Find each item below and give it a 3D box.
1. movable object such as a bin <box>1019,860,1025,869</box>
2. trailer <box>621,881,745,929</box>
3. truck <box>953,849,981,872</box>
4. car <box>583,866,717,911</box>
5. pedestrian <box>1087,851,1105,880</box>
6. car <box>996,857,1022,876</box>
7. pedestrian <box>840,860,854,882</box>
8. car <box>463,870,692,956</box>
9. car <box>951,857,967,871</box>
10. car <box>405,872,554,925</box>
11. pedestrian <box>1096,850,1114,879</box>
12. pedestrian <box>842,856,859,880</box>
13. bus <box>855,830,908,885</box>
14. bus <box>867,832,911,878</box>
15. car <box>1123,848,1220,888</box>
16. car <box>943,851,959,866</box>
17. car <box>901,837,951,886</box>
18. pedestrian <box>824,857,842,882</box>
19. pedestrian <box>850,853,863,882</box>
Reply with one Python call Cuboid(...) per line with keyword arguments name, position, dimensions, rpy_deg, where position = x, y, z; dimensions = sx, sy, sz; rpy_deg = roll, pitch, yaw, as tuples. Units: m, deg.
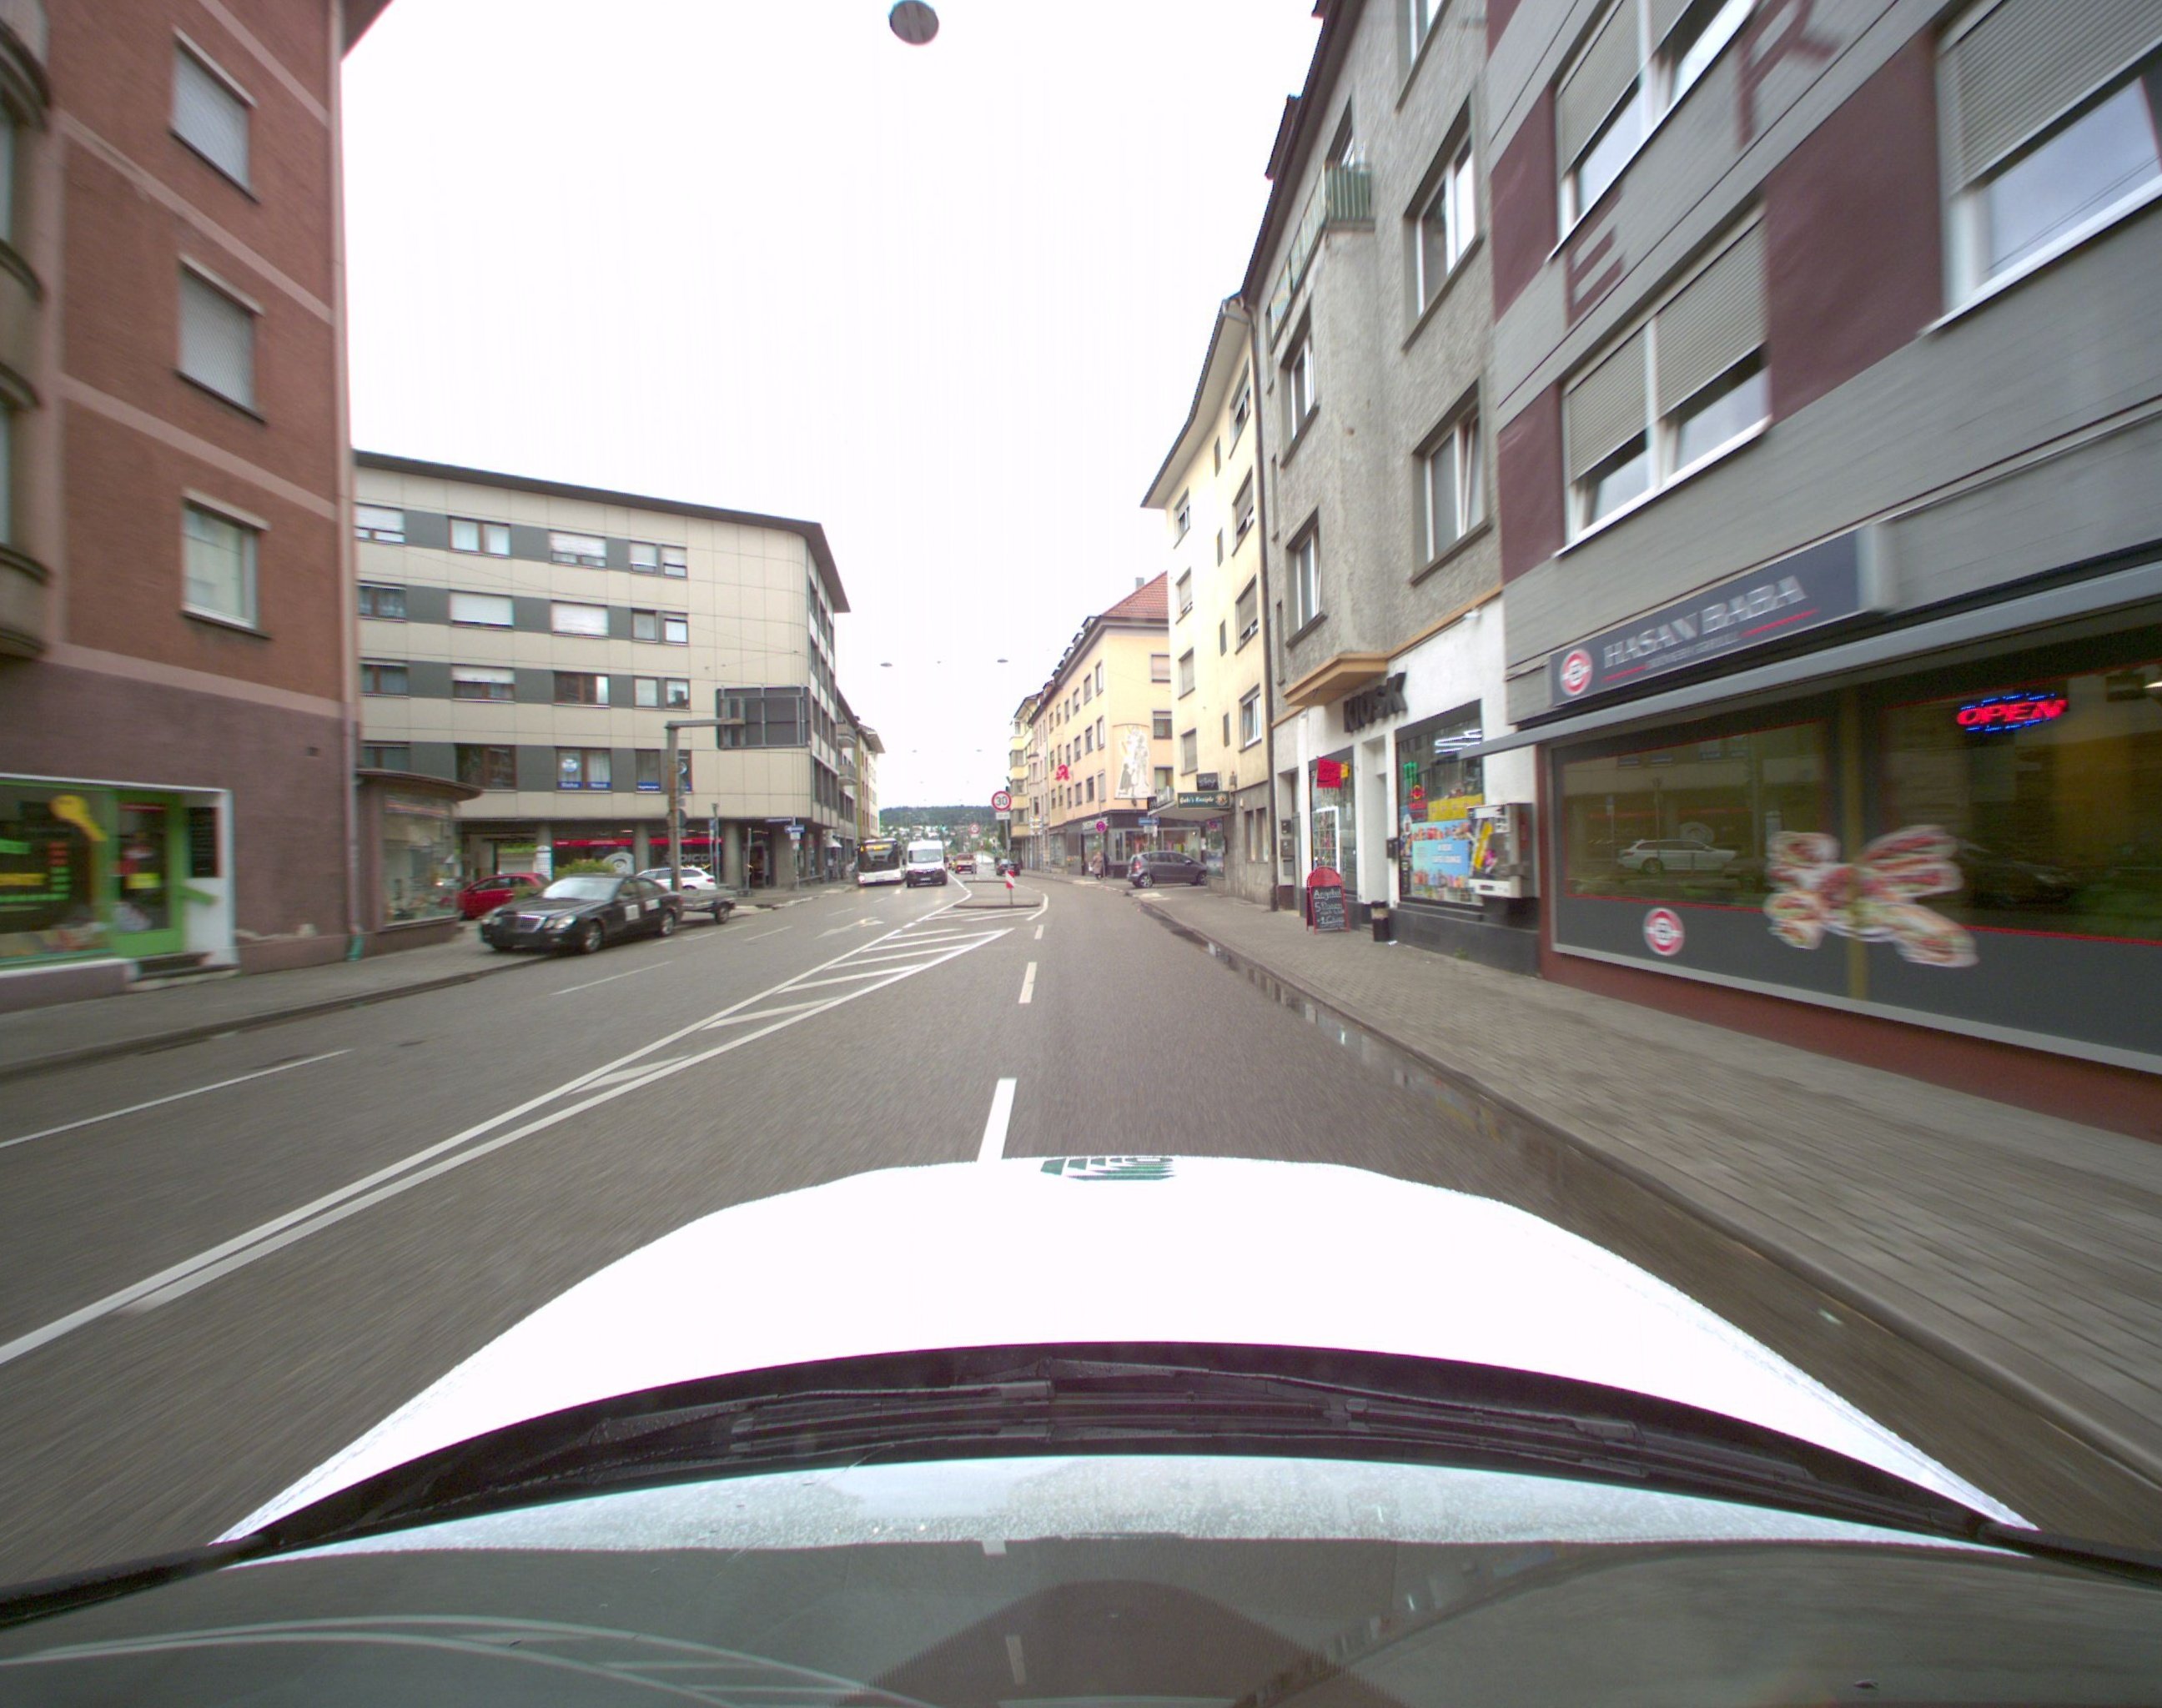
Cuboid(name="movable object such as a bin", position=(-6.660, 1.181, 91.718), dimensions=(0.600, 0.926, 0.702), rpy_deg=(-2, -1, -11))
Cuboid(name="trailer", position=(-10.004, 1.256, 20.692), dimensions=(1.583, 0.949, 3.056), rpy_deg=(3, 0, 0))
Cuboid(name="truck", position=(-11.213, 0.675, 79.608), dimensions=(2.401, 2.129, 5.295), rpy_deg=(-2, -1, -11))
Cuboid(name="car", position=(-17.497, 1.371, 33.182), dimensions=(4.658, 1.533, 1.887), rpy_deg=(-2, -1, -31))
Cuboid(name="pedestrian", position=(0.828, 0.612, 44.771), dimensions=(0.779, 1.560, 0.779), rpy_deg=(-2, -1, -12))
Cuboid(name="car", position=(-5.946, 1.034, 66.748), dimensions=(1.754, 1.479, 3.986), rpy_deg=(0, -1, -10))
Cuboid(name="pedestrian", position=(-15.501, 1.134, 53.951), dimensions=(0.768, 1.396, 0.784), rpy_deg=(-2, -1, -8))
Cuboid(name="car", position=(-9.991, 1.091, 16.720), dimensions=(1.845, 1.397, 4.788), rpy_deg=(1, 0, -2))
Cuboid(name="car", position=(-15.304, 1.240, 102.060), dimensions=(1.754, 1.651, 3.986), rpy_deg=(-2, -1, -10))
Cuboid(name="car", position=(-19.370, 1.386, 26.399), dimensions=(3.531, 1.482, 1.680), rpy_deg=(-2, -1, -23))
Cuboid(name="pedestrian", position=(1.331, 0.599, 45.183), dimensions=(0.769, 1.560, 0.872), rpy_deg=(-2, -1, -12))
Cuboid(name="pedestrian", position=(-16.717, 1.016, 59.111), dimensions=(0.999, 1.684, 1.262), rpy_deg=(-2, -1, -8))
Cuboid(name="bus", position=(-12.889, 0.261, 53.276), dimensions=(2.759, 3.188, 8.879), rpy_deg=(-2, -1, -10))
Cuboid(name="bus", position=(-14.559, 0.120, 62.265), dimensions=(2.726, 3.188, 9.259), rpy_deg=(-2, -1, -10))
Cuboid(name="car", position=(3.921, 0.595, 35.650), dimensions=(3.823, 1.574, 1.931), rpy_deg=(-2, -1, -8))
Cuboid(name="car", position=(-18.203, 0.683, 113.949), dimensions=(1.996, 2.014, 3.982), rpy_deg=(-2, -1, -13))
Cuboid(name="car", position=(-8.440, 0.414, 44.866), dimensions=(2.083, 2.435, 6.340), rpy_deg=(-2, -1, -6))
Cuboid(name="pedestrian", position=(-16.180, 0.993, 53.049), dimensions=(0.945, 1.589, 0.832), rpy_deg=(-2, -1, -8))
Cuboid(name="pedestrian", position=(-15.718, 0.923, 57.064), dimensions=(0.678, 2.014, 0.774), rpy_deg=(-2, -1, -8))
